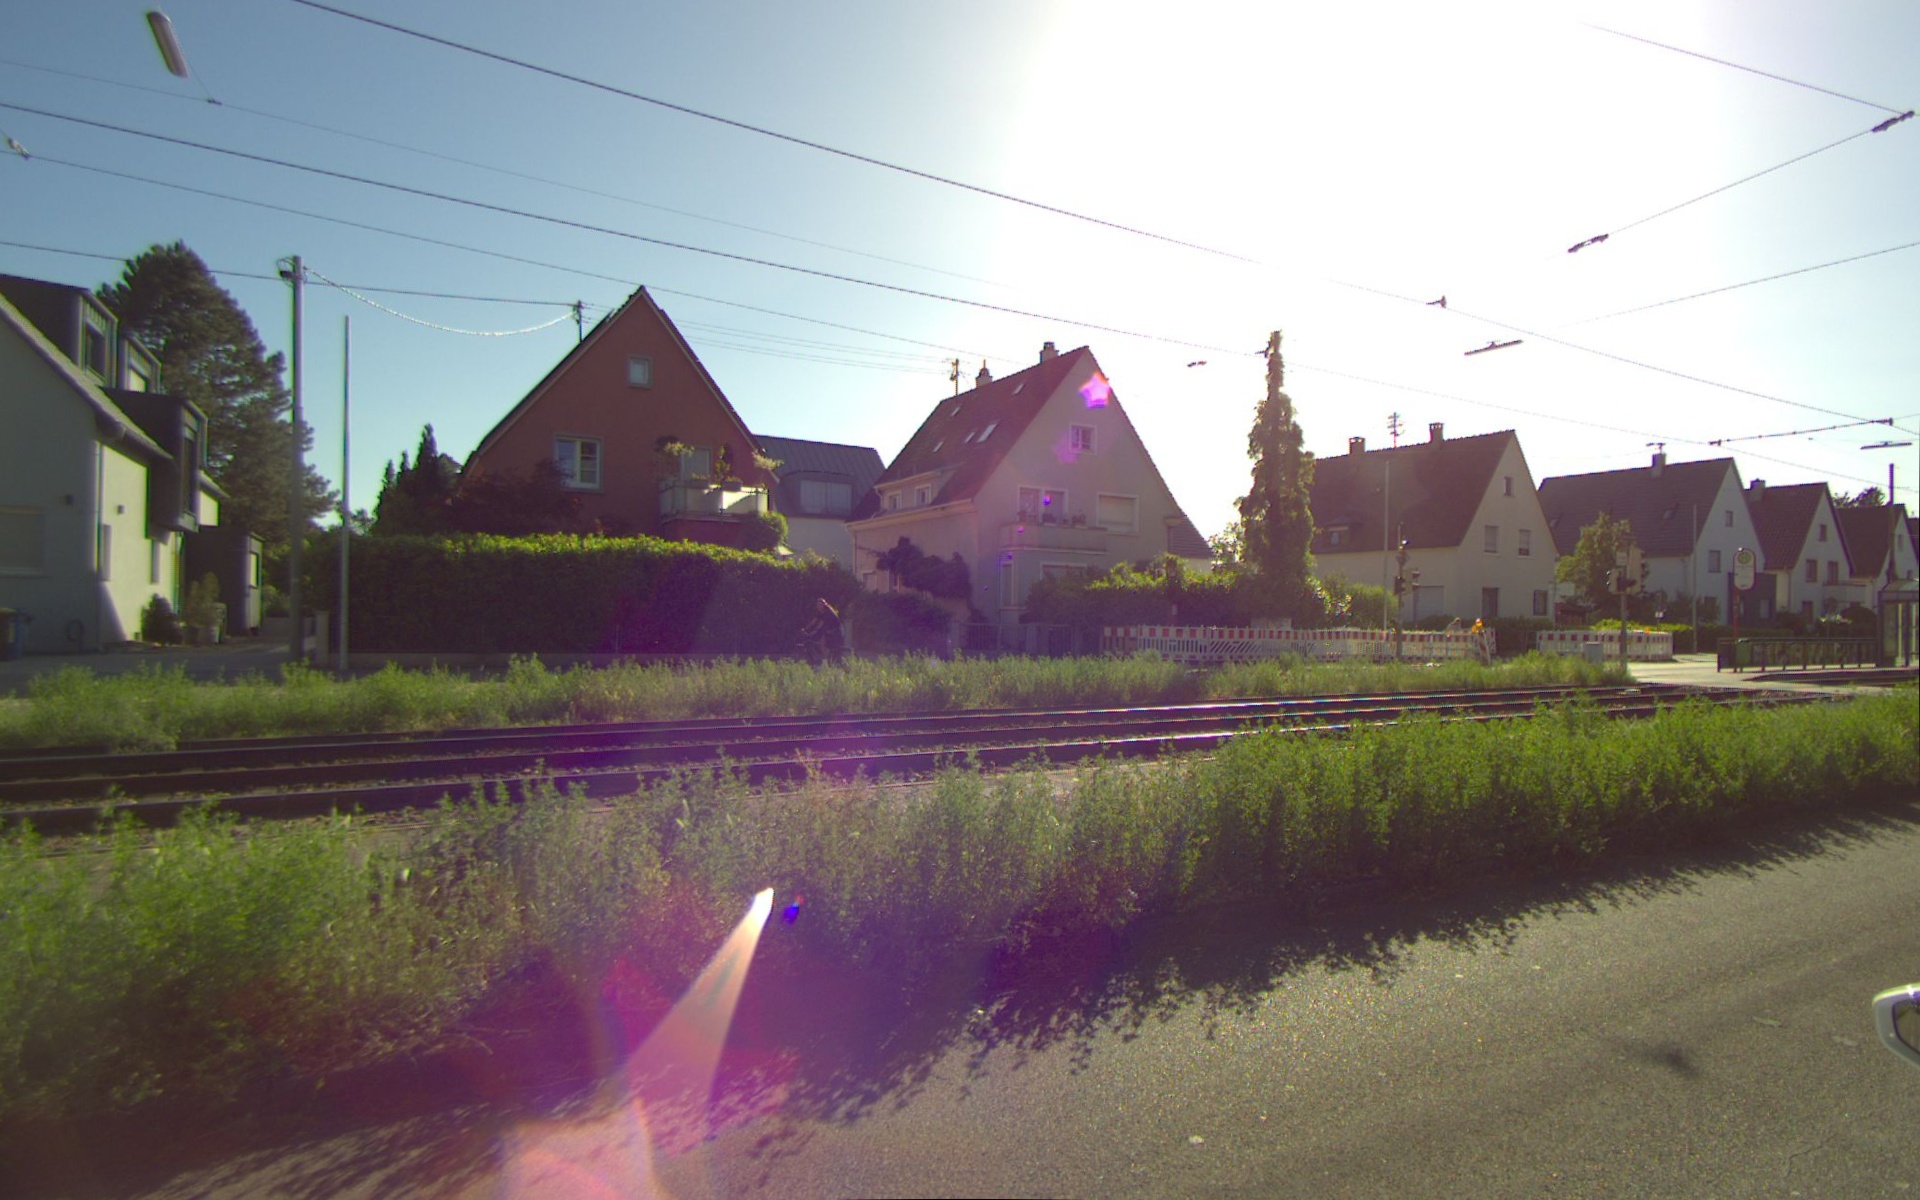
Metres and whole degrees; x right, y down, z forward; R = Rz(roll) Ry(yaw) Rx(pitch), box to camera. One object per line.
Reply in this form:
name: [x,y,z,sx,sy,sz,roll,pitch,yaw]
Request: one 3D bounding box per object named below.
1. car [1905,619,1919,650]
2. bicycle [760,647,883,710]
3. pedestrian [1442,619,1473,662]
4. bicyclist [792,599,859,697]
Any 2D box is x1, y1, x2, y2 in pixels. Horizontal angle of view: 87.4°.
car: [56.193,2.030,57.424,4.339,1.736,1.984,1,1,-30]
bicycle: [-2.782,1.551,20.223,2.282,1.149,0.847,1,1,-30]
pedestrian: [18.473,1.484,37.292,0.808,1.555,0.783,-1,1,-44]
bicyclist: [-2.718,0.954,20.265,1.059,1.912,0.847,1,1,-30]
